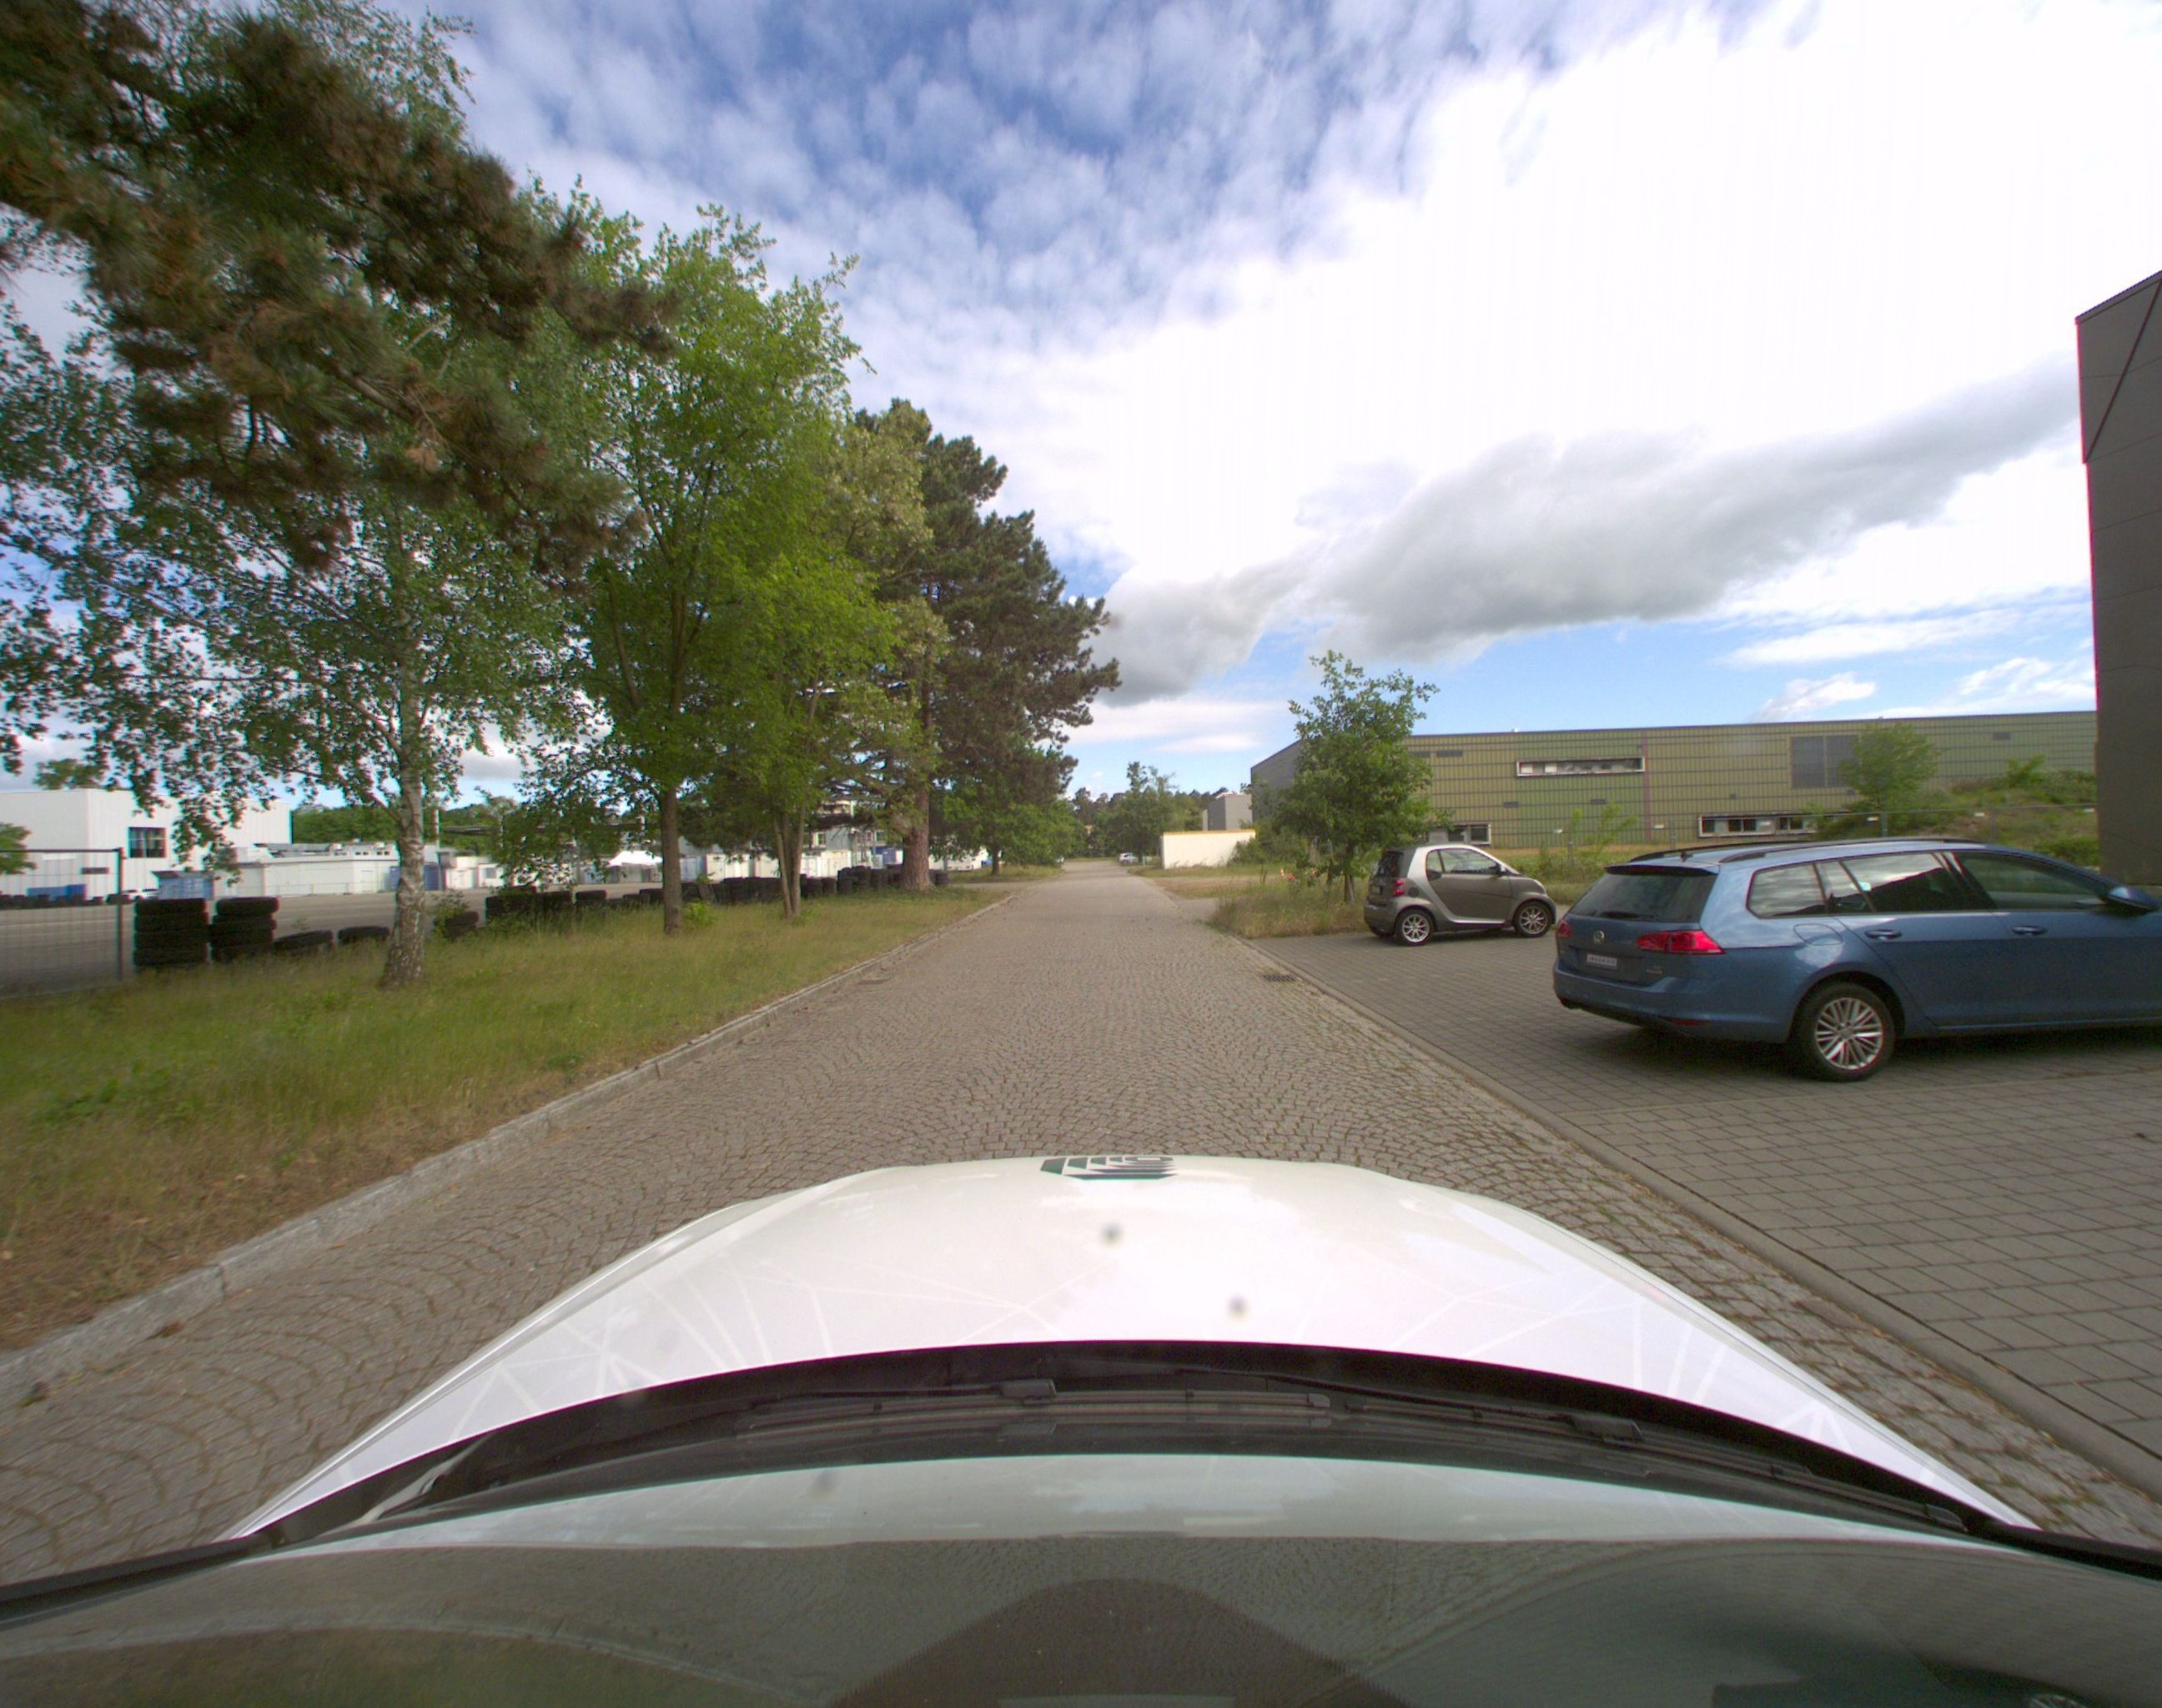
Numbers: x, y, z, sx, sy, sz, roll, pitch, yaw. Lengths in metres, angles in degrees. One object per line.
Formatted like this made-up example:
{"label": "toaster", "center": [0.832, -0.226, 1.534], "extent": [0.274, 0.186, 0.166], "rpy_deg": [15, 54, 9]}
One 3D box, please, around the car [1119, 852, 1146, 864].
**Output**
{"label": "car", "center": [7.943, 0.613, 125.828], "extent": [3.970, 1.448, 1.654], "rpy_deg": [-4, 0, 1]}

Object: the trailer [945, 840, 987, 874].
{"label": "trailer", "center": [-12.984, 0.278, 92.993], "extent": [2.614, 3.598, 10.186], "rpy_deg": [-2, 0, 3]}

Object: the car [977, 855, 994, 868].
{"label": "car", "center": [-15.521, 1.135, 132.924], "extent": [1.986, 2.013, 4.769], "rpy_deg": [-2, 0, 2]}

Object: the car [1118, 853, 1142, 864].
{"label": "car", "center": [7.347, 0.718, 123.139], "extent": [3.510, 1.362, 1.623], "rpy_deg": [-4, 0, 1]}

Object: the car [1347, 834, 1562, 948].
{"label": "car", "center": [5.996, 0.574, 13.332], "extent": [2.700, 1.556, 1.654], "rpy_deg": [-4, 0, 2]}

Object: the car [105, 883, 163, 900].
{"label": "car", "center": [-101.564, 4.023, 87.328], "extent": [4.089, 1.633, 1.831], "rpy_deg": [-2, 0, 1]}

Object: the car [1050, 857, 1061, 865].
{"label": "car", "center": [-4.519, 1.214, 144.833], "extent": [1.642, 1.369, 3.999], "rpy_deg": [-2, 0, 1]}

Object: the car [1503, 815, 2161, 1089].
{"label": "car", "center": [5.837, 0.574, 5.998], "extent": [4.478, 1.475, 1.829], "rpy_deg": [-3, 0, -2]}

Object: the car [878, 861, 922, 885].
{"label": "car", "center": [-12.194, 1.260, 55.042], "extent": [1.617, 1.433, 4.071], "rpy_deg": [-2, 0, 7]}
